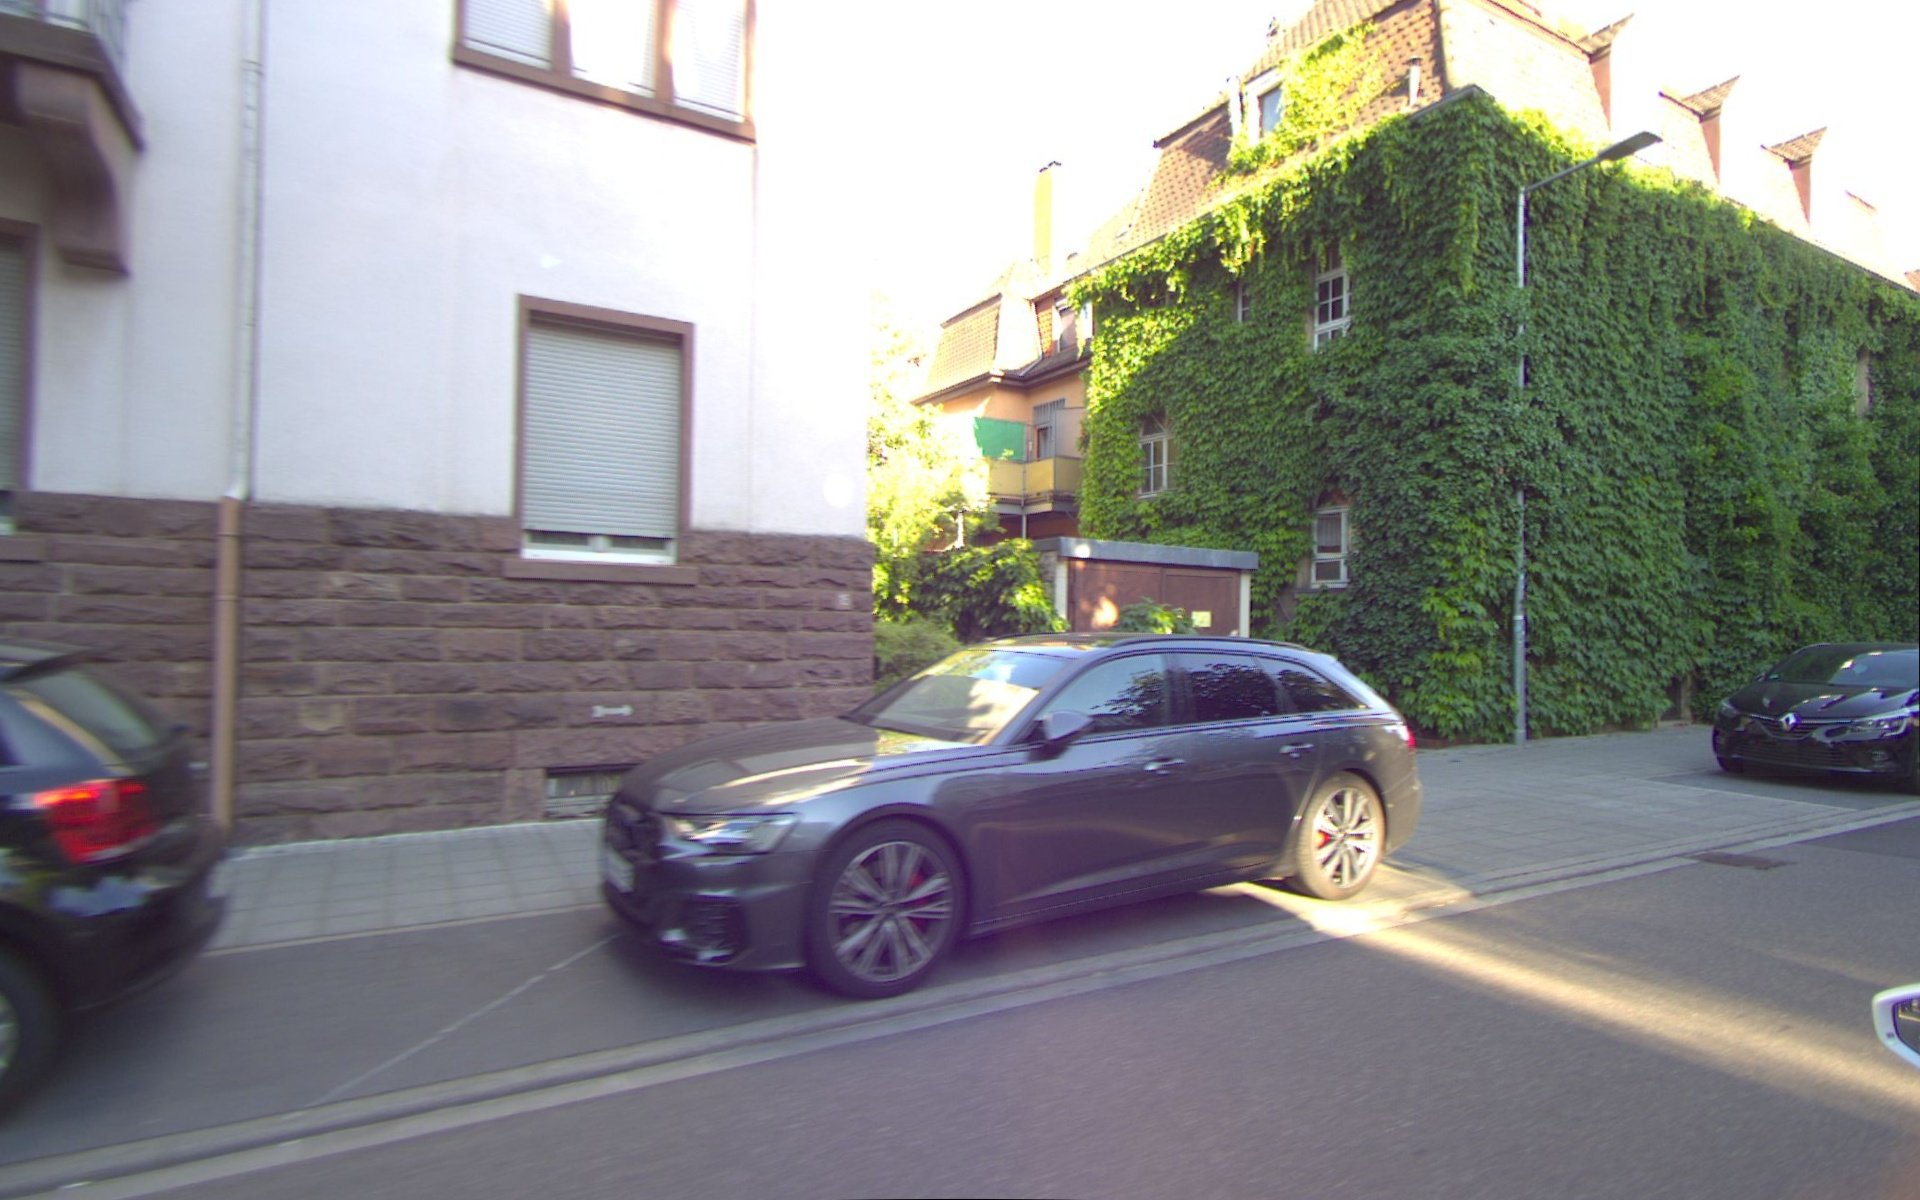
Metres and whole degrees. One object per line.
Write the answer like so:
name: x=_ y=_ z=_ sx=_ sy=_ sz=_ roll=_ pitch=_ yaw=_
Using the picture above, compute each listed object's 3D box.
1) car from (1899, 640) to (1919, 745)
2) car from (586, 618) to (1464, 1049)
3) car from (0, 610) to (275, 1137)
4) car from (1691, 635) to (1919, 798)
car: x=14.725 y=1.289 z=13.777 sx=3.676 sy=1.398 sz=1.679 roll=2 pitch=0 yaw=-30
car: x=0.585 y=0.892 z=5.573 sx=4.725 sy=1.481 sz=1.782 roll=2 pitch=0 yaw=-33
car: x=-4.294 y=0.756 z=2.823 sx=3.802 sy=1.466 sz=1.644 roll=2 pitch=0 yaw=-32
car: x=9.950 y=1.149 z=10.983 sx=4.050 sy=1.439 sz=1.642 roll=2 pitch=0 yaw=-30
